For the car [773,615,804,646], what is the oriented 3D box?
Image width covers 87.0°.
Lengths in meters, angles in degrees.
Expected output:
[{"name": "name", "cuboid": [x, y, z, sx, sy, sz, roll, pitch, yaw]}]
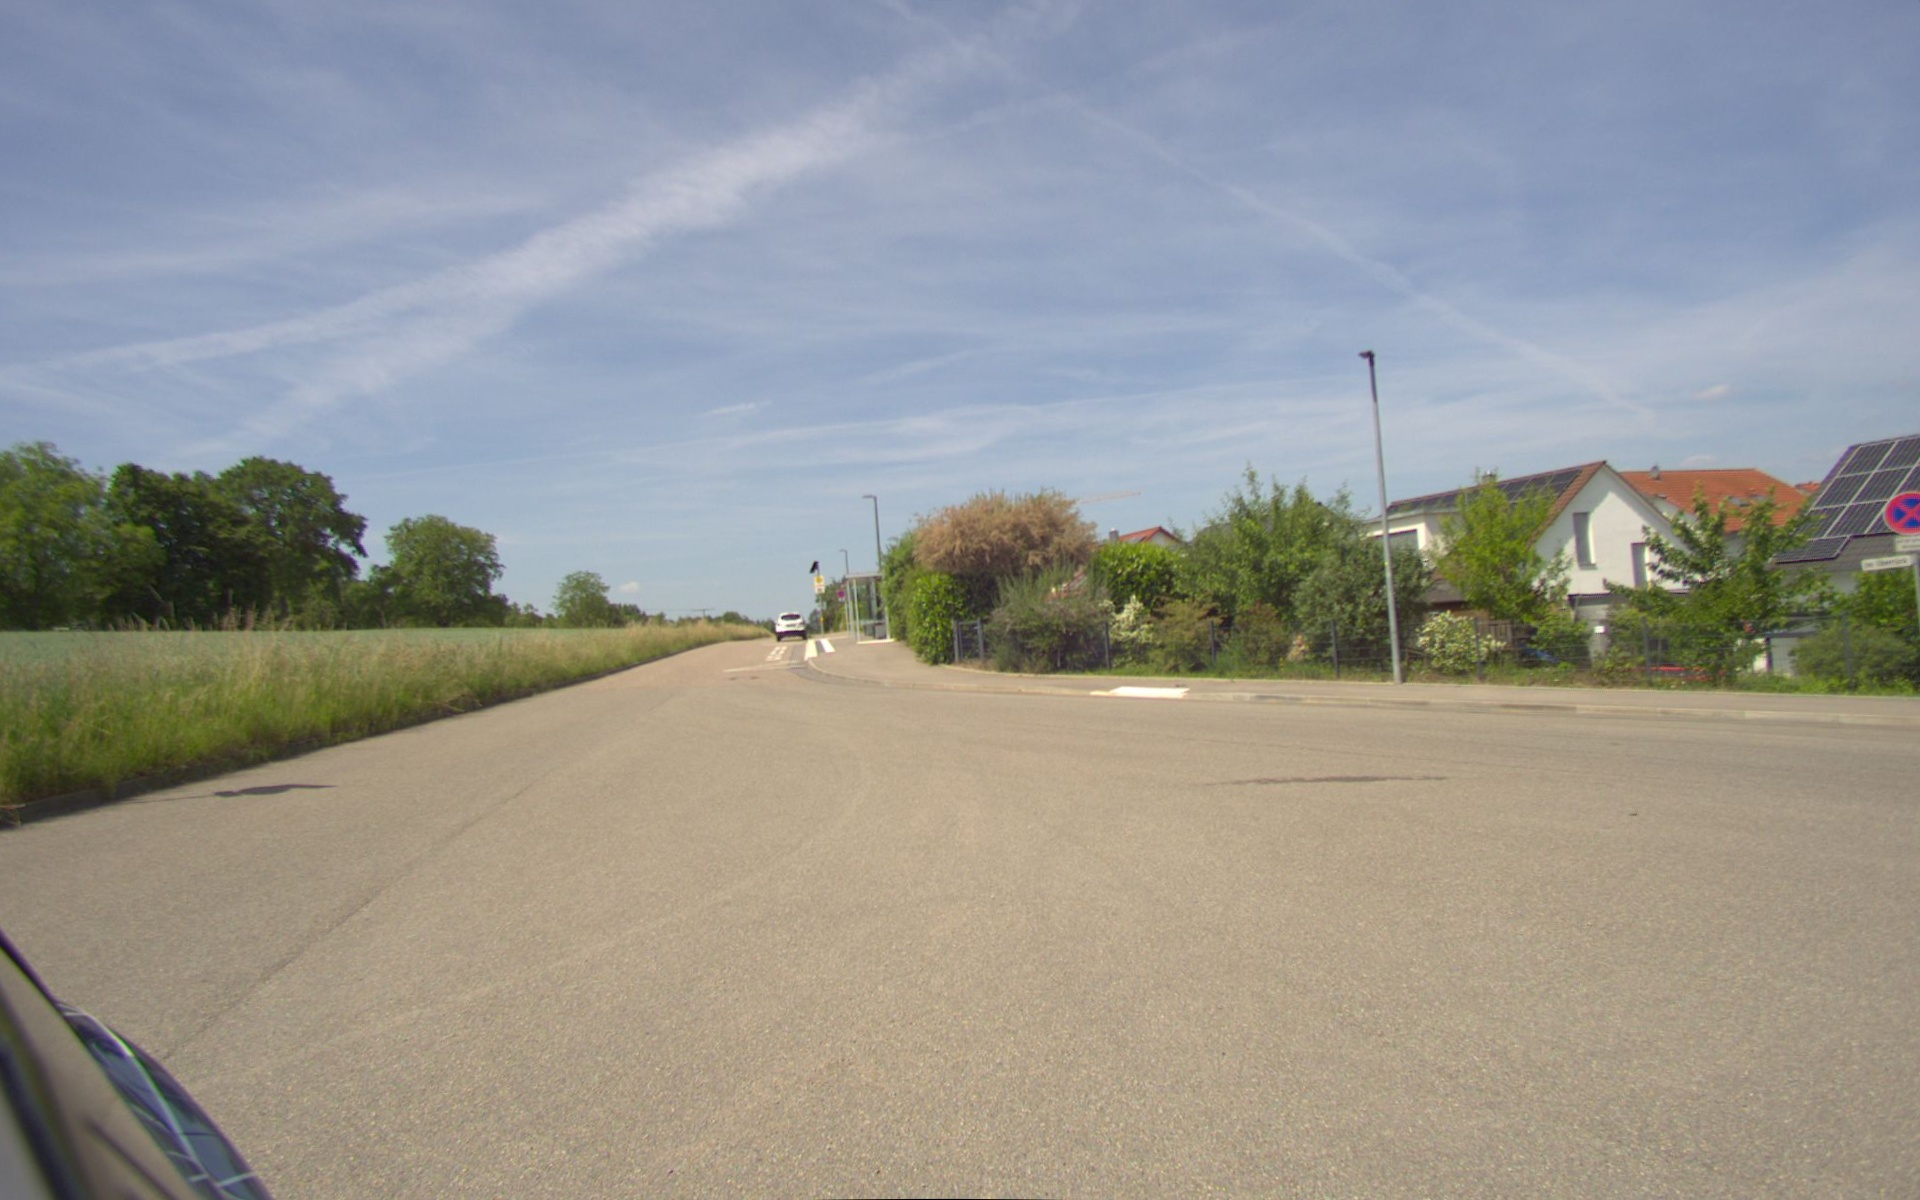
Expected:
[{"name": "car", "cuboid": [-10.242, 1.807, 60.484, 1.712, 1.645, 4.361, -3, -1, -9]}]
